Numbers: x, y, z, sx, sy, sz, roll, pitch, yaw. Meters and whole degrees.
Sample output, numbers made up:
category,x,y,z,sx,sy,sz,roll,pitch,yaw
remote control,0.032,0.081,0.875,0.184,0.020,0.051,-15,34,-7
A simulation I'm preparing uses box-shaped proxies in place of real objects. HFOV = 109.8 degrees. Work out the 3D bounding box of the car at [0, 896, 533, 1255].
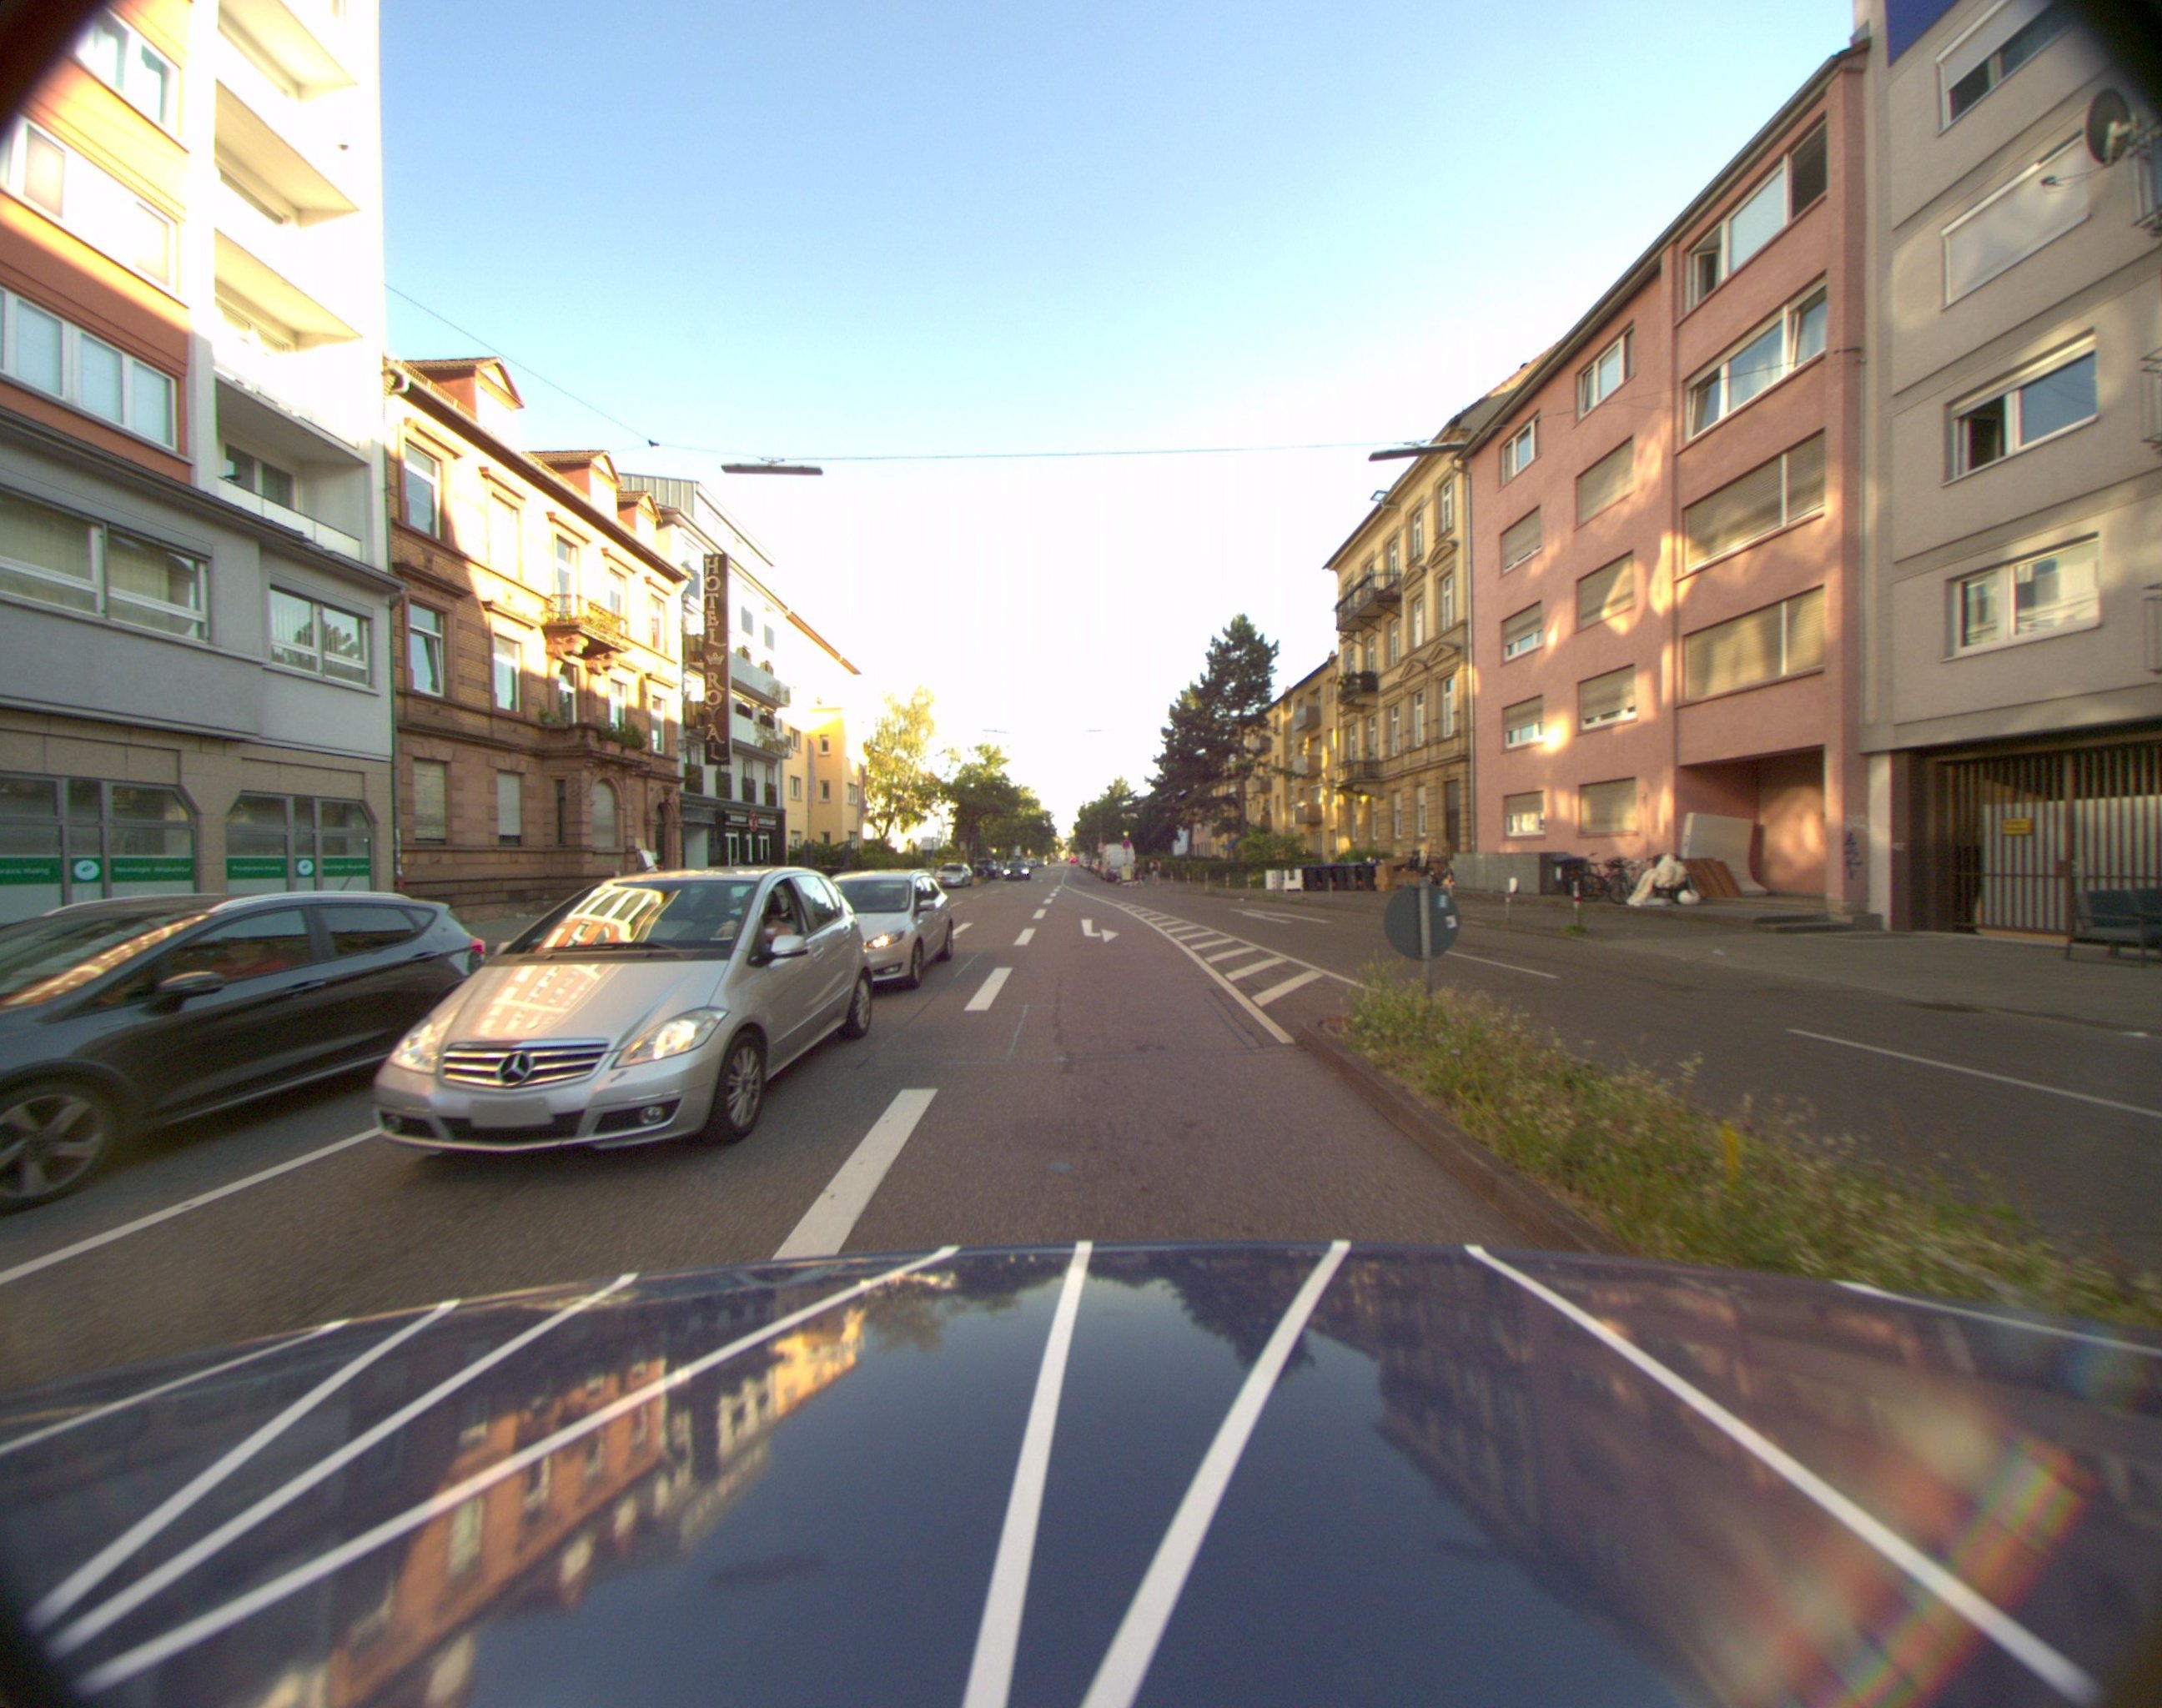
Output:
category,x,y,z,sx,sy,sz,roll,pitch,yaw
car,-5.852,1.145,4.825,1.655,1.476,4.239,-2,0,0

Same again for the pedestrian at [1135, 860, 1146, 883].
category,x,y,z,sx,sy,sz,roll,pitch,yaw
pedestrian,3.718,1.097,47.515,0.560,1.370,0.480,-2,1,-6

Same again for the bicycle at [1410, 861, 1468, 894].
category,x,y,z,sx,sy,sz,roll,pitch,yaw
bicycle,12.704,0.819,26.982,1.653,0.961,0.662,-6,1,-2

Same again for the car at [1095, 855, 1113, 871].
category,x,y,z,sx,sy,sz,roll,pitch,yaw
car,2.434,0.936,81.592,1.781,1.579,4.185,-2,0,-1

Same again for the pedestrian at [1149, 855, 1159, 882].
category,x,y,z,sx,sy,sz,roll,pitch,yaw
pedestrian,4.541,0.902,47.158,0.481,1.642,0.725,-1,0,-7

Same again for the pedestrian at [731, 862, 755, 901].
category,x,y,z,sx,sy,sz,roll,pitch,yaw
pedestrian,-14.438,1.174,32.437,0.709,1.633,0.693,-1,0,-1

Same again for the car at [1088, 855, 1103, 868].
category,x,y,z,sx,sy,sz,roll,pitch,yaw
car,1.859,0.986,98.982,1.842,1.508,4.315,-2,0,0

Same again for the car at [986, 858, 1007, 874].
category,x,y,z,sx,sy,sz,roll,pitch,yaw
car,-8.044,1.103,72.576,1.721,1.463,4.430,0,0,-3

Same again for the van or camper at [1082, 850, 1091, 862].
category,x,y,z,sx,sy,sz,roll,pitch,yaw
van or camper,1.215,0.480,165.259,1.918,2.528,5.334,-1,0,-1

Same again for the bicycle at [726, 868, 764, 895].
category,x,y,z,sx,sy,sz,roll,pitch,yaw
bicycle,-14.504,1.191,32.808,1.427,1.104,0.488,2,0,-18

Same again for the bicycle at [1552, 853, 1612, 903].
category,x,y,z,sx,sy,sz,roll,pitch,yaw
bicycle,12.780,0.595,19.369,1.677,1.153,0.495,-2,1,-26

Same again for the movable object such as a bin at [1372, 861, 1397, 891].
category,x,y,z,sx,sy,sz,roll,pitch,yaw
movable object such as a bin,11.620,0.826,29.124,0.643,1.104,0.582,-4,2,-31

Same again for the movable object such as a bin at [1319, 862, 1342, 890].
category,x,y,z,sx,sy,sz,roll,pitch,yaw
movable object such as a bin,10.264,0.893,31.297,0.643,1.104,0.582,-4,2,-31

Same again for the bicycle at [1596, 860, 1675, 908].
category,x,y,z,sx,sy,sz,roll,pitch,yaw
bicycle,12.936,0.683,17.737,1.676,1.035,0.549,-2,1,-15

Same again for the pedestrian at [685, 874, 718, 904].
category,x,y,z,sx,sy,sz,roll,pitch,yaw
pedestrian,-13.835,1.257,27.710,0.692,1.037,0.945,-1,0,3

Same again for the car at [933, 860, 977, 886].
category,x,y,z,sx,sy,sz,roll,pitch,yaw
car,-7.839,1.145,47.730,1.860,1.503,4.834,1,0,1

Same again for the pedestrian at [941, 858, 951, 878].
category,x,y,z,sx,sy,sz,roll,pitch,yaw
pedestrian,-10.878,1.101,61.286,0.748,1.606,0.579,-1,0,-3

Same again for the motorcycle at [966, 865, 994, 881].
category,x,y,z,sx,sy,sz,roll,pitch,yaw
motorcycle,-7.386,1.386,55.405,1.932,1.065,0.819,-1,0,-12

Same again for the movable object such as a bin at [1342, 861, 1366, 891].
category,x,y,z,sx,sy,sz,roll,pitch,yaw
movable object such as a bin,10.809,0.866,30.105,0.643,1.104,0.582,-4,2,-31

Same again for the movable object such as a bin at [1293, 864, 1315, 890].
category,x,y,z,sx,sy,sz,roll,pitch,yaw
movable object such as a bin,9.535,0.975,32.480,0.643,1.077,0.582,-4,2,-31

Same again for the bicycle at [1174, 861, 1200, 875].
category,x,y,z,sx,sy,sz,roll,pitch,yaw
bicycle,7.632,1.007,54.960,1.763,0.976,0.590,-2,0,0

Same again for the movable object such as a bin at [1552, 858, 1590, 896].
category,x,y,z,sx,sy,sz,roll,pitch,yaw
movable object such as a bin,13.555,0.625,21.025,0.676,1.026,0.589,-1,0,-1

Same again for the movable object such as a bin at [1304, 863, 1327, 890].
category,x,y,z,sx,sy,sz,roll,pitch,yaw
movable object such as a bin,9.828,0.947,31.880,0.643,1.062,0.626,-4,2,-31

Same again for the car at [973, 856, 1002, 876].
category,x,y,z,sx,sy,sz,roll,pitch,yaw
car,-7.775,0.975,63.757,1.953,1.645,4.795,-1,0,-2

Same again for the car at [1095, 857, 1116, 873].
category,x,y,z,sx,sy,sz,roll,pitch,yaw
car,2.262,1.008,70.400,1.721,1.443,3.923,-2,0,-1

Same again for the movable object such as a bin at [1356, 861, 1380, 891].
category,x,y,z,sx,sy,sz,roll,pitch,yaw
movable object such as a bin,11.191,0.850,29.633,0.643,1.104,0.582,-4,2,-31

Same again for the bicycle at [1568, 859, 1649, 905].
category,x,y,z,sx,sy,sz,roll,pitch,yaw
bicycle,12.888,0.665,18.565,1.675,1.035,0.549,-2,1,-7

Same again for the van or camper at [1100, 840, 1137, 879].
category,x,y,z,sx,sy,sz,roll,pitch,yaw
van or camper,2.717,0.410,56.419,2.041,2.648,6.014,-3,0,-3

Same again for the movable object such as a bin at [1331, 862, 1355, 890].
category,x,y,z,sx,sy,sz,roll,pitch,yaw
movable object such as a bin,10.593,0.874,30.737,0.643,1.104,0.582,-4,2,-31

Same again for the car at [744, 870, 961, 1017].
category,x,y,z,sx,sy,sz,roll,pitch,yaw
car,-2.876,1.037,10.606,1.712,1.501,4.308,-2,0,0

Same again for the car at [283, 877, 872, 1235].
category,x,y,z,sx,sy,sz,roll,pitch,yaw
car,-2.860,1.001,5.389,1.808,1.559,3.618,-1,0,-2

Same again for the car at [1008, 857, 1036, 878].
category,x,y,z,sx,sy,sz,roll,pitch,yaw
car,-4.550,1.046,59.156,1.999,1.525,3.999,-1,0,-2

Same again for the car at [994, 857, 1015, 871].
category,x,y,z,sx,sy,sz,roll,pitch,yaw
car,-7.967,0.992,79.381,1.775,1.440,4.484,0,0,-1

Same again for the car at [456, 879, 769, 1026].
category,x,y,z,sx,sy,sz,roll,pitch,yaw
car,-5.964,1.146,10.378,1.712,1.448,4.158,-1,0,0

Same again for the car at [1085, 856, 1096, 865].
category,x,y,z,sx,sy,sz,roll,pitch,yaw
car,1.608,1.059,127.349,1.684,1.434,3.881,-2,0,1

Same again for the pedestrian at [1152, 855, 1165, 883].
category,x,y,z,sx,sy,sz,roll,pitch,yaw
pedestrian,4.751,0.905,46.448,0.606,1.642,0.696,-1,0,-7

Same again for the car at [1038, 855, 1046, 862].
category,x,y,z,sx,sy,sz,roll,pitch,yaw
car,-9.081,1.109,178.215,1.798,1.558,3.672,0,0,-1
